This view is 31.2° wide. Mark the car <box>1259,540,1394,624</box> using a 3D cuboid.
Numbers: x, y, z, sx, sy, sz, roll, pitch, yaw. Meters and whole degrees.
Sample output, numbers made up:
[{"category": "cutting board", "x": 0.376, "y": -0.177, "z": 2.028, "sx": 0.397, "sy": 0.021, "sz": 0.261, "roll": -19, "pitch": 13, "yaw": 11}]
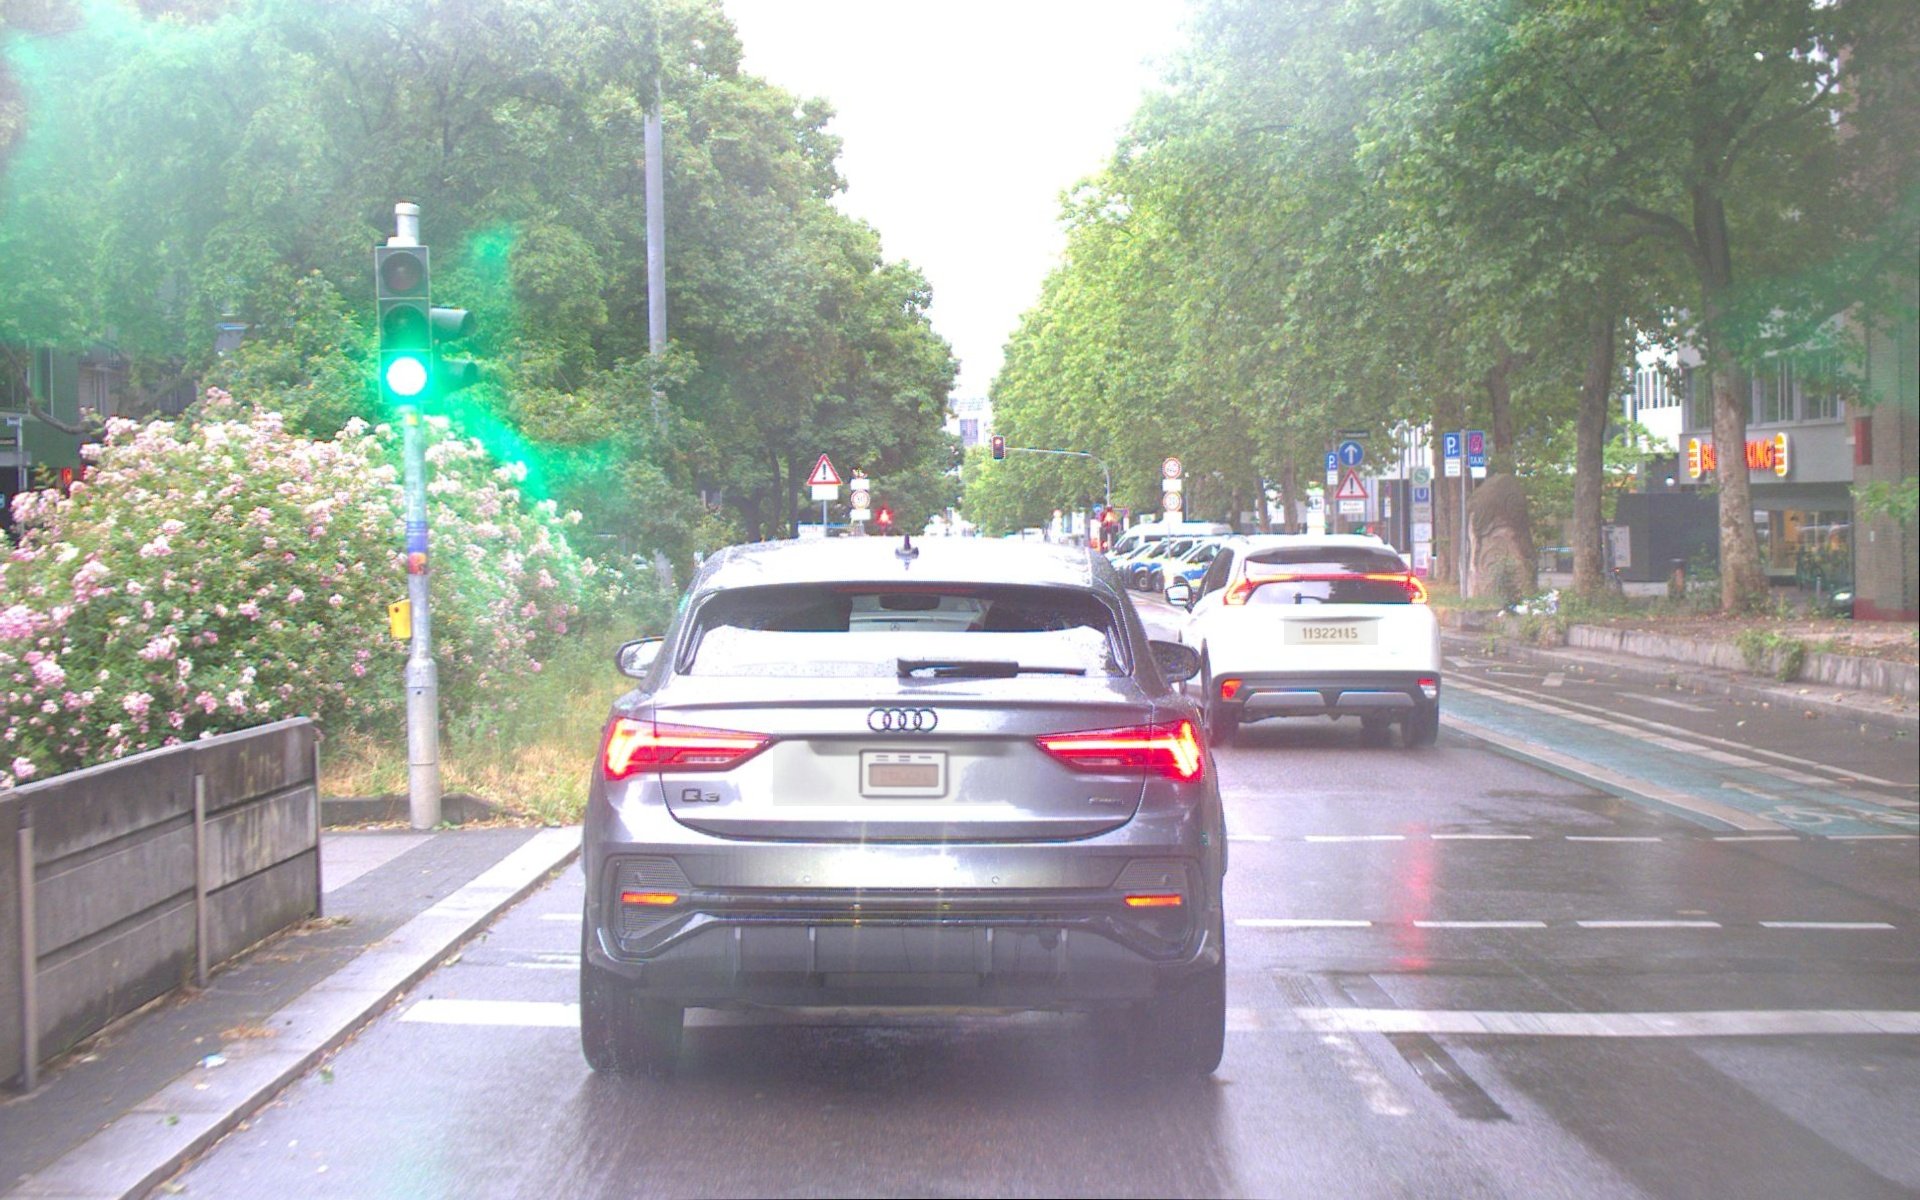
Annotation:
[{"category": "car", "x": 6.564, "y": -0.336, "z": 62.033, "sx": 1.873, "sy": 1.416, "sz": 4.611, "roll": 1, "pitch": 1, "yaw": 0}]

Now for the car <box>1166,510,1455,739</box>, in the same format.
[{"category": "car", "x": 2.747, "y": 0.172, "z": 27.771, "sx": 1.878, "sy": 1.691, "sz": 4.000, "roll": 1, "pitch": 0, "yaw": 0}]

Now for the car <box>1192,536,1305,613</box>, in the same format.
[{"category": "car", "x": 6.101, "y": -0.537, "z": 73.153, "sx": 1.727, "sy": 1.566, "sz": 4.074, "roll": 1, "pitch": 0, "yaw": -5}]

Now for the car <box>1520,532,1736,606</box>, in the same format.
[{"category": "car", "x": 10.112, "y": -0.468, "z": 52.064, "sx": 2.889, "sy": 1.071, "sz": 1.453, "roll": 1, "pitch": 0, "yaw": 31}]

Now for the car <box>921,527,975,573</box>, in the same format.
[{"category": "car", "x": -0.482, "y": -1.903, "z": 131.765, "sx": 1.993, "sy": 1.721, "sz": 4.000, "roll": 1, "pitch": 0, "yaw": -1}]

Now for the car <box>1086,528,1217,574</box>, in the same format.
[{"category": "car", "x": 7.472, "y": -1.904, "z": 134.124, "sx": 4.645, "sy": 1.700, "sz": 1.997, "roll": 1, "pitch": 0, "yaw": 28}]

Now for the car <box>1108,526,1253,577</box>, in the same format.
[{"category": "car", "x": 7.724, "y": -1.704, "z": 120.465, "sx": 4.645, "sy": 1.700, "sz": 1.997, "roll": 1, "pitch": 0, "yaw": 28}]

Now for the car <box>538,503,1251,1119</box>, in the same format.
[{"category": "car", "x": -0.217, "y": 0.520, "z": 10.924, "sx": 1.849, "sy": 1.596, "sz": 4.000, "roll": 0, "pitch": 1, "yaw": -1}]

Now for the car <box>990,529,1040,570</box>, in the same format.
[{"category": "car", "x": 2.304, "y": -2.100, "z": 144.633, "sx": 1.993, "sy": 1.645, "sz": 4.000, "roll": 1, "pitch": 0, "yaw": 0}]

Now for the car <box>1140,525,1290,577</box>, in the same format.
[{"category": "car", "x": 8.648, "y": -1.676, "z": 116.817, "sx": 4.645, "sy": 1.700, "sz": 1.997, "roll": 1, "pitch": 0, "yaw": 28}]

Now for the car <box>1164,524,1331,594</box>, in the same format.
[{"category": "car", "x": 8.569, "y": -1.225, "z": 102.676, "sx": 4.602, "sy": 2.007, "sz": 1.964, "roll": 1, "pitch": 0, "yaw": 38}]
